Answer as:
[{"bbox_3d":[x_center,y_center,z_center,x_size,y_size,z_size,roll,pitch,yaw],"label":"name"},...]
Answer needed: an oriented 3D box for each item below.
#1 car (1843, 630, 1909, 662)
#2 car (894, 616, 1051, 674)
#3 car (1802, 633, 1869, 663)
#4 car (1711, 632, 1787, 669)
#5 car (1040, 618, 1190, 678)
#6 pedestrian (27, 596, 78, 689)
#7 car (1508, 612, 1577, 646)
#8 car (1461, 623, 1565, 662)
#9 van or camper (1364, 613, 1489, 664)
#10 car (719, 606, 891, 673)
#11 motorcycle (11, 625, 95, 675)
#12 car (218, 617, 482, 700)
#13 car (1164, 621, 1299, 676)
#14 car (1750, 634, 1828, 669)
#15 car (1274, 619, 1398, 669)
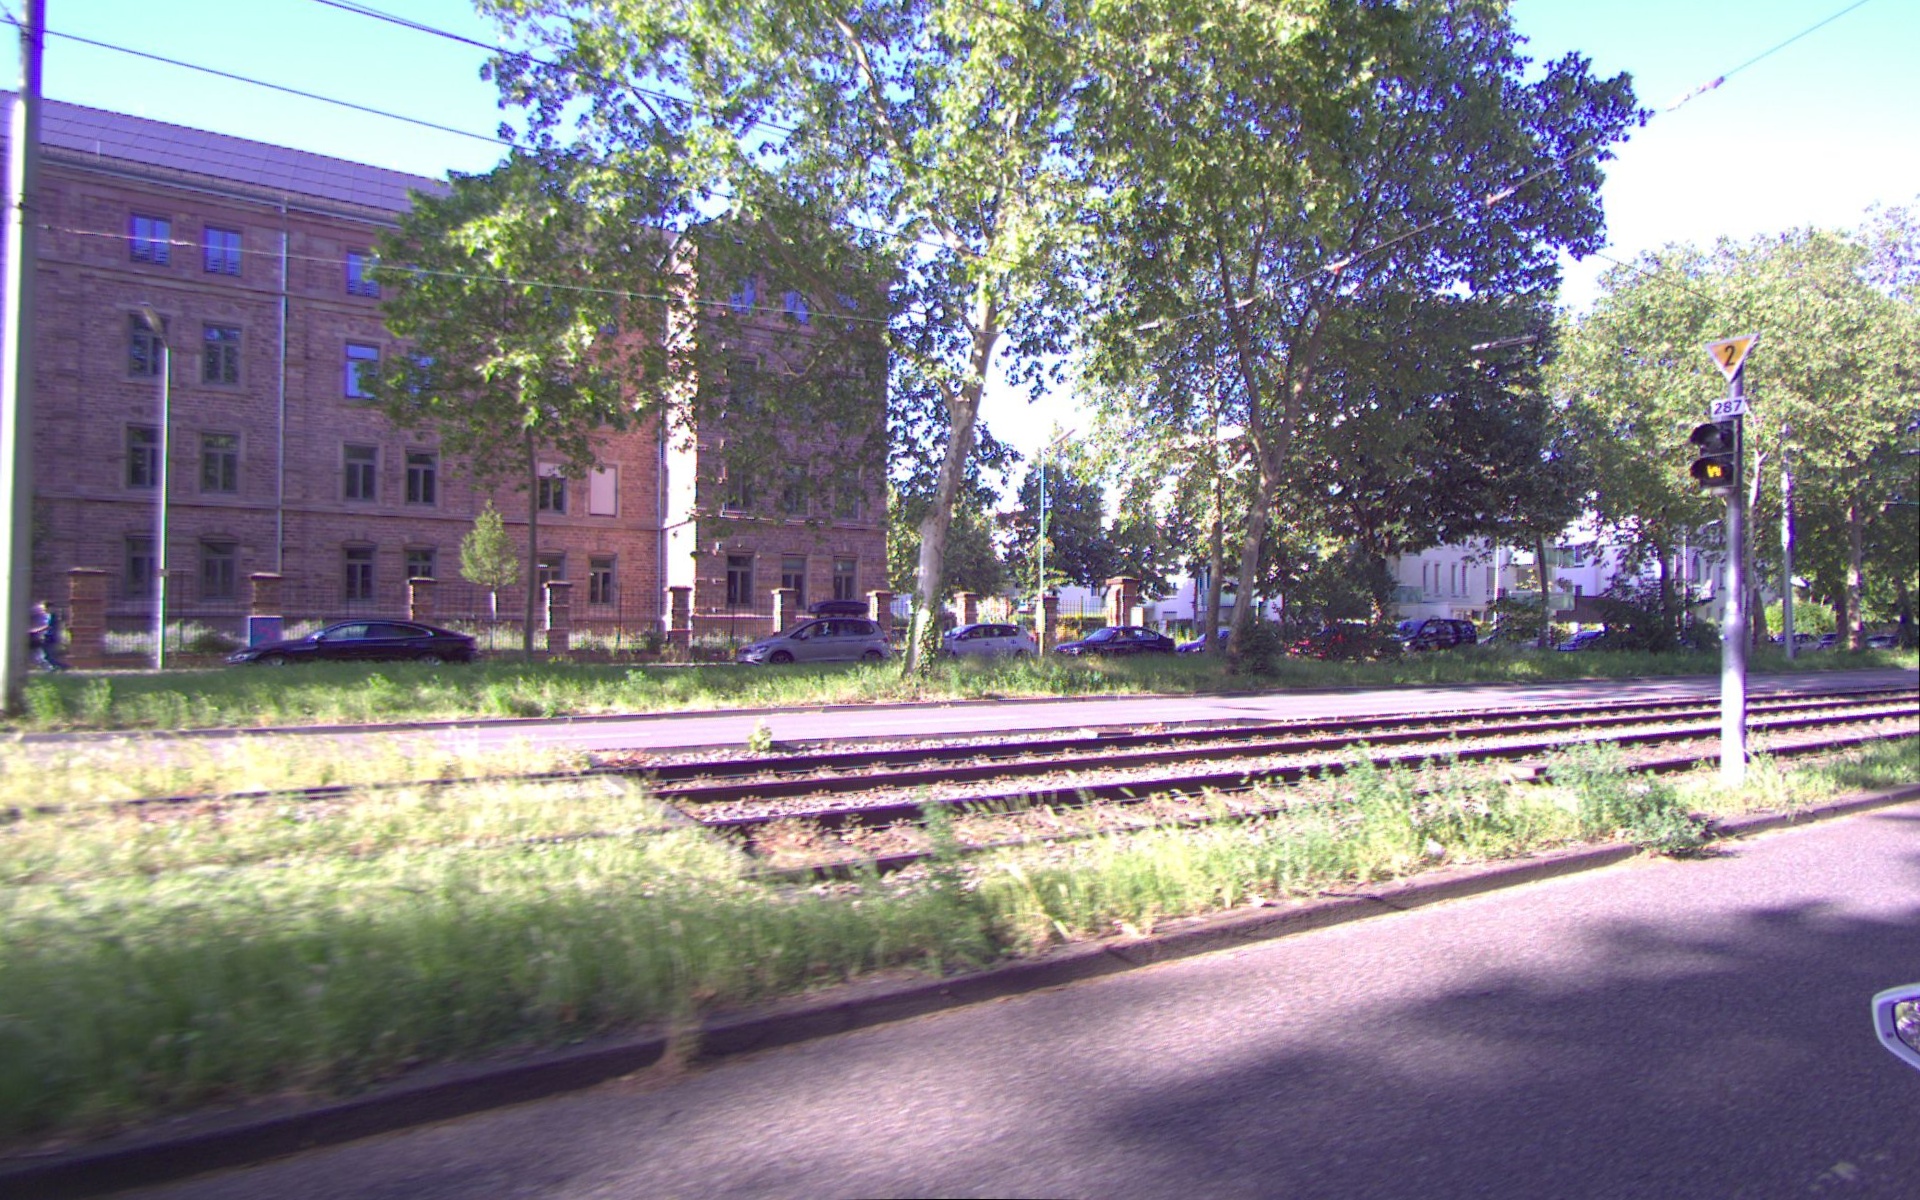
[{"bbox_3d":[60.900,3.034,66.767,4.628,2.040,1.984,1,-2,-30],"label":"car"},{"bbox_3d":[0.381,1.329,30.465,4.362,1.636,1.987,1,-1,-27],"label":"car"},{"bbox_3d":[55.035,2.987,63.125,4.500,1.860,1.812,1,-2,-30],"label":"car"},{"bbox_3d":[44.780,2.836,56.996,4.051,2.040,1.985,1,-1,-29],"label":"car"},{"bbox_3d":[5.156,1.540,33.210,4.685,1.833,2.098,1,-2,-32],"label":"car"},{"bbox_3d":[-20.227,0.942,22.401,0.702,2.040,0.582,1,-1,-31],"label":"pedestrian"},{"bbox_3d":[35.964,1.798,61.982,3.952,2.040,1.985,1,-2,-29],"label":"car"},{"bbox_3d":[24.965,1.946,45.297,5.035,1.619,2.016,2,-4,-34],"label":"car"},{"bbox_3d":[19.544,1.607,42.023,5.156,2.040,2.255,2,-2,-31],"label":"van or camper"},{"bbox_3d":[-4.242,1.060,27.618,4.362,1.742,1.762,1,-1,-27],"label":"car"},{"bbox_3d":[-20.213,1.105,22.410,1.278,1.066,0.581,1,-1,-30],"label":"motorcycle"},{"bbox_3d":[-13.261,1.207,22.170,4.769,1.671,1.984,1,-1,-30],"label":"car"},{"bbox_3d":[9.752,1.690,35.954,4.686,1.833,2.097,1,-2,-32],"label":"car"},{"bbox_3d":[49.466,3.040,59.895,4.625,2.040,1.986,1,-1,-28],"label":"car"},{"bbox_3d":[14.620,1.653,38.984,4.685,1.833,2.098,1,-2,-32],"label":"car"}]
